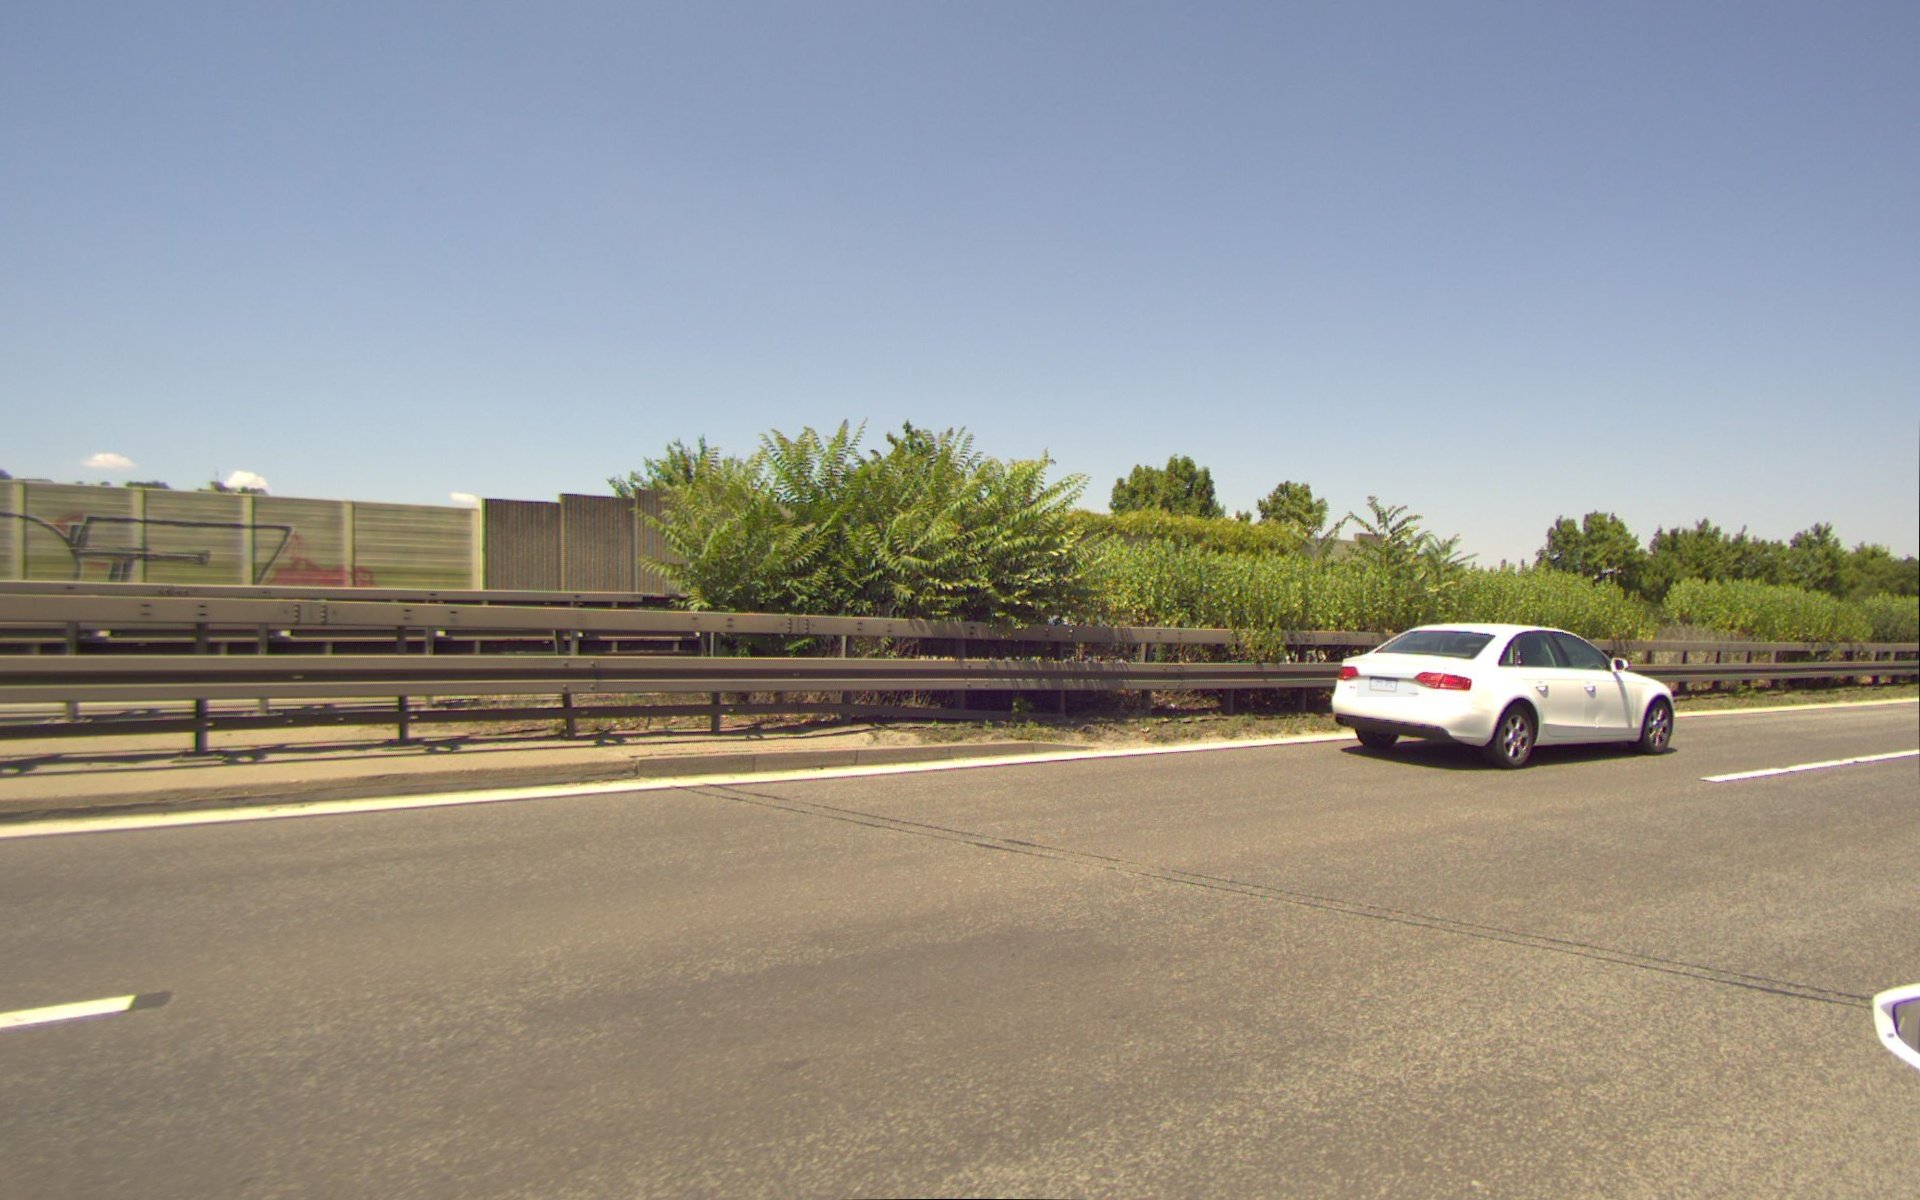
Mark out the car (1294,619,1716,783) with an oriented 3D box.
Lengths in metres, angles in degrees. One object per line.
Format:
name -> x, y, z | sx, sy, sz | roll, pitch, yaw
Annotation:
car -> 6.286, 1.016, 11.401 | 5.066, 1.460, 1.867 | 2, 0, -31
